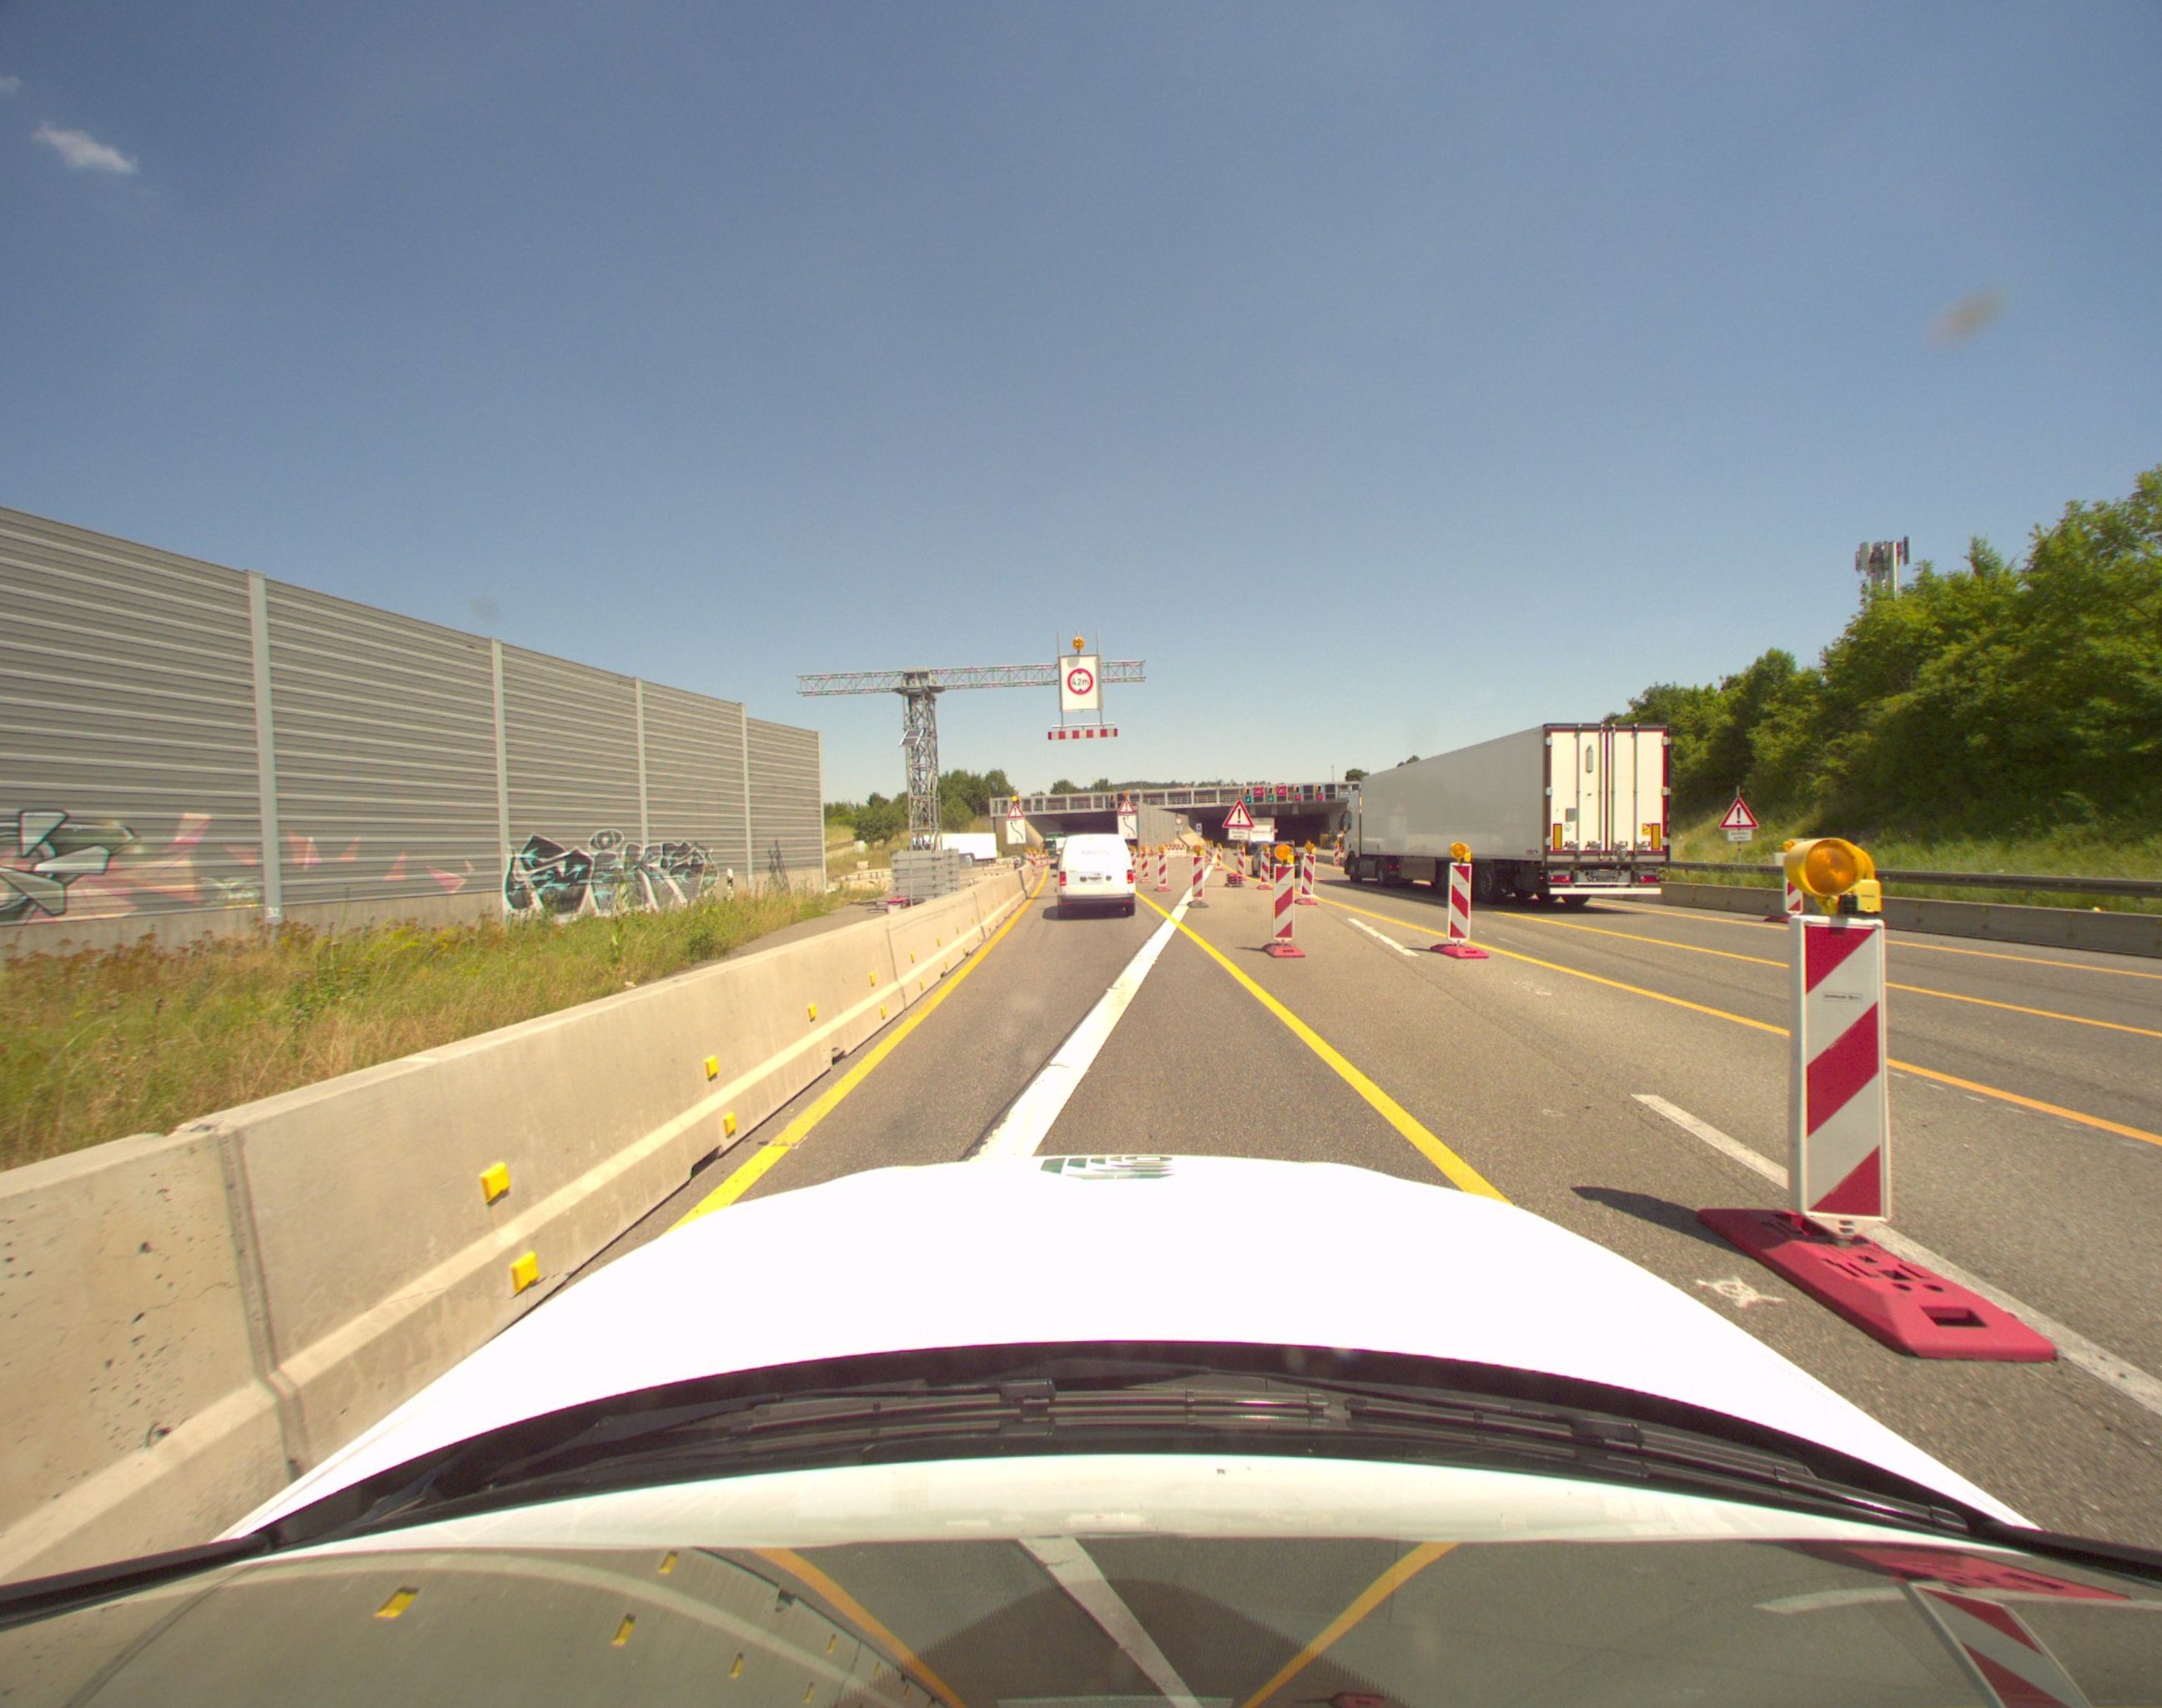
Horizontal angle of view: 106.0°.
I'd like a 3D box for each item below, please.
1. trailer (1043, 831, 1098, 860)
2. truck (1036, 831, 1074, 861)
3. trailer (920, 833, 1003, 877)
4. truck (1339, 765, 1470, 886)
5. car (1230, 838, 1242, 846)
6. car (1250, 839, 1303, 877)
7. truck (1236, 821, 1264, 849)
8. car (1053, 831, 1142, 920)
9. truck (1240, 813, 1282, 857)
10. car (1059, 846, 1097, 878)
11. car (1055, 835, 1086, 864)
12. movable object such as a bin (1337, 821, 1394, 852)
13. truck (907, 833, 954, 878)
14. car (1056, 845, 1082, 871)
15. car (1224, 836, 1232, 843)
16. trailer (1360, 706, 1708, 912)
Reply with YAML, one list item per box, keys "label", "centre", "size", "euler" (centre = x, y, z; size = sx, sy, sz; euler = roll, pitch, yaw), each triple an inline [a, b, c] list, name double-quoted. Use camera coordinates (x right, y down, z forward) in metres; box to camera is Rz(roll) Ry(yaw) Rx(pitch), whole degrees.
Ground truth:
- label: "trailer"
  centre: [-1.383, -1.301, 127.282]
  size: [3.516, 4.270, 13.981]
  euler: [-1, 0, 21]
- label: "truck"
  centre: [-3.817, -1.237, 120.986]
  size: [3.516, 4.270, 5.809]
  euler: [-1, 0, 21]
- label: "trailer"
  centre: [-13.046, 0.010, 91.289]
  size: [2.642, 4.500, 15.002]
  euler: [-1, 1, 19]
- label: "truck"
  centre: [11.746, -0.961, 30.209]
  size: [2.734, 4.033, 5.931]
  euler: [-1, 0, 3]
- label: "car"
  centre: [36.527, -2.720, 192.187]
  size: [2.320, 1.838, 4.552]
  euler: [-1, 0, 6]
- label: "car"
  centre: [8.966, 0.177, 37.609]
  size: [1.806, 1.630, 4.196]
  euler: [-1, 0, 5]
- label: "truck"
  centre: [26.538, -2.829, 128.526]
  size: [3.382, 4.071, 16.575]
  euler: [-1, 0, 8]
- label: "car"
  centre: [0.330, 0.443, 19.148]
  size: [1.803, 1.794, 3.730]
  euler: [-3, 0, -1]
- label: "truck"
  centre: [19.668, -1.845, 90.053]
  size: [3.382, 4.335, 16.574]
  euler: [0, 0, 8]
- label: "car"
  centre: [-0.205, 0.412, 43.811]
  size: [1.804, 1.537, 4.405]
  euler: [-3, 0, -3]
- label: "car"
  centre: [-0.949, -0.402, 80.537]
  size: [2.804, 2.773, 7.102]
  euler: [-1, 0, 1]
- label: "movable object such as a bin"
  centre: [31.788, -1.864, 91.766]
  size: [3.093, 3.010, 14.736]
  euler: [-3, 0, 8]
- label: "truck"
  centre: [-15.481, 0.083, 84.074]
  size: [2.642, 4.500, 4.866]
  euler: [-1, 0, 19]
- label: "car"
  centre: [-0.907, 0.258, 61.417]
  size: [1.803, 1.815, 4.408]
  euler: [-3, 0, -1]
- label: "car"
  centre: [37.208, -3.664, 206.495]
  size: [1.804, 1.630, 4.200]
  euler: [-1, 0, 8]
- label: "trailer"
  centre: [11.397, -0.931, 23.227]
  size: [2.721, 4.062, 14.106]
  euler: [-1, 0, 3]
